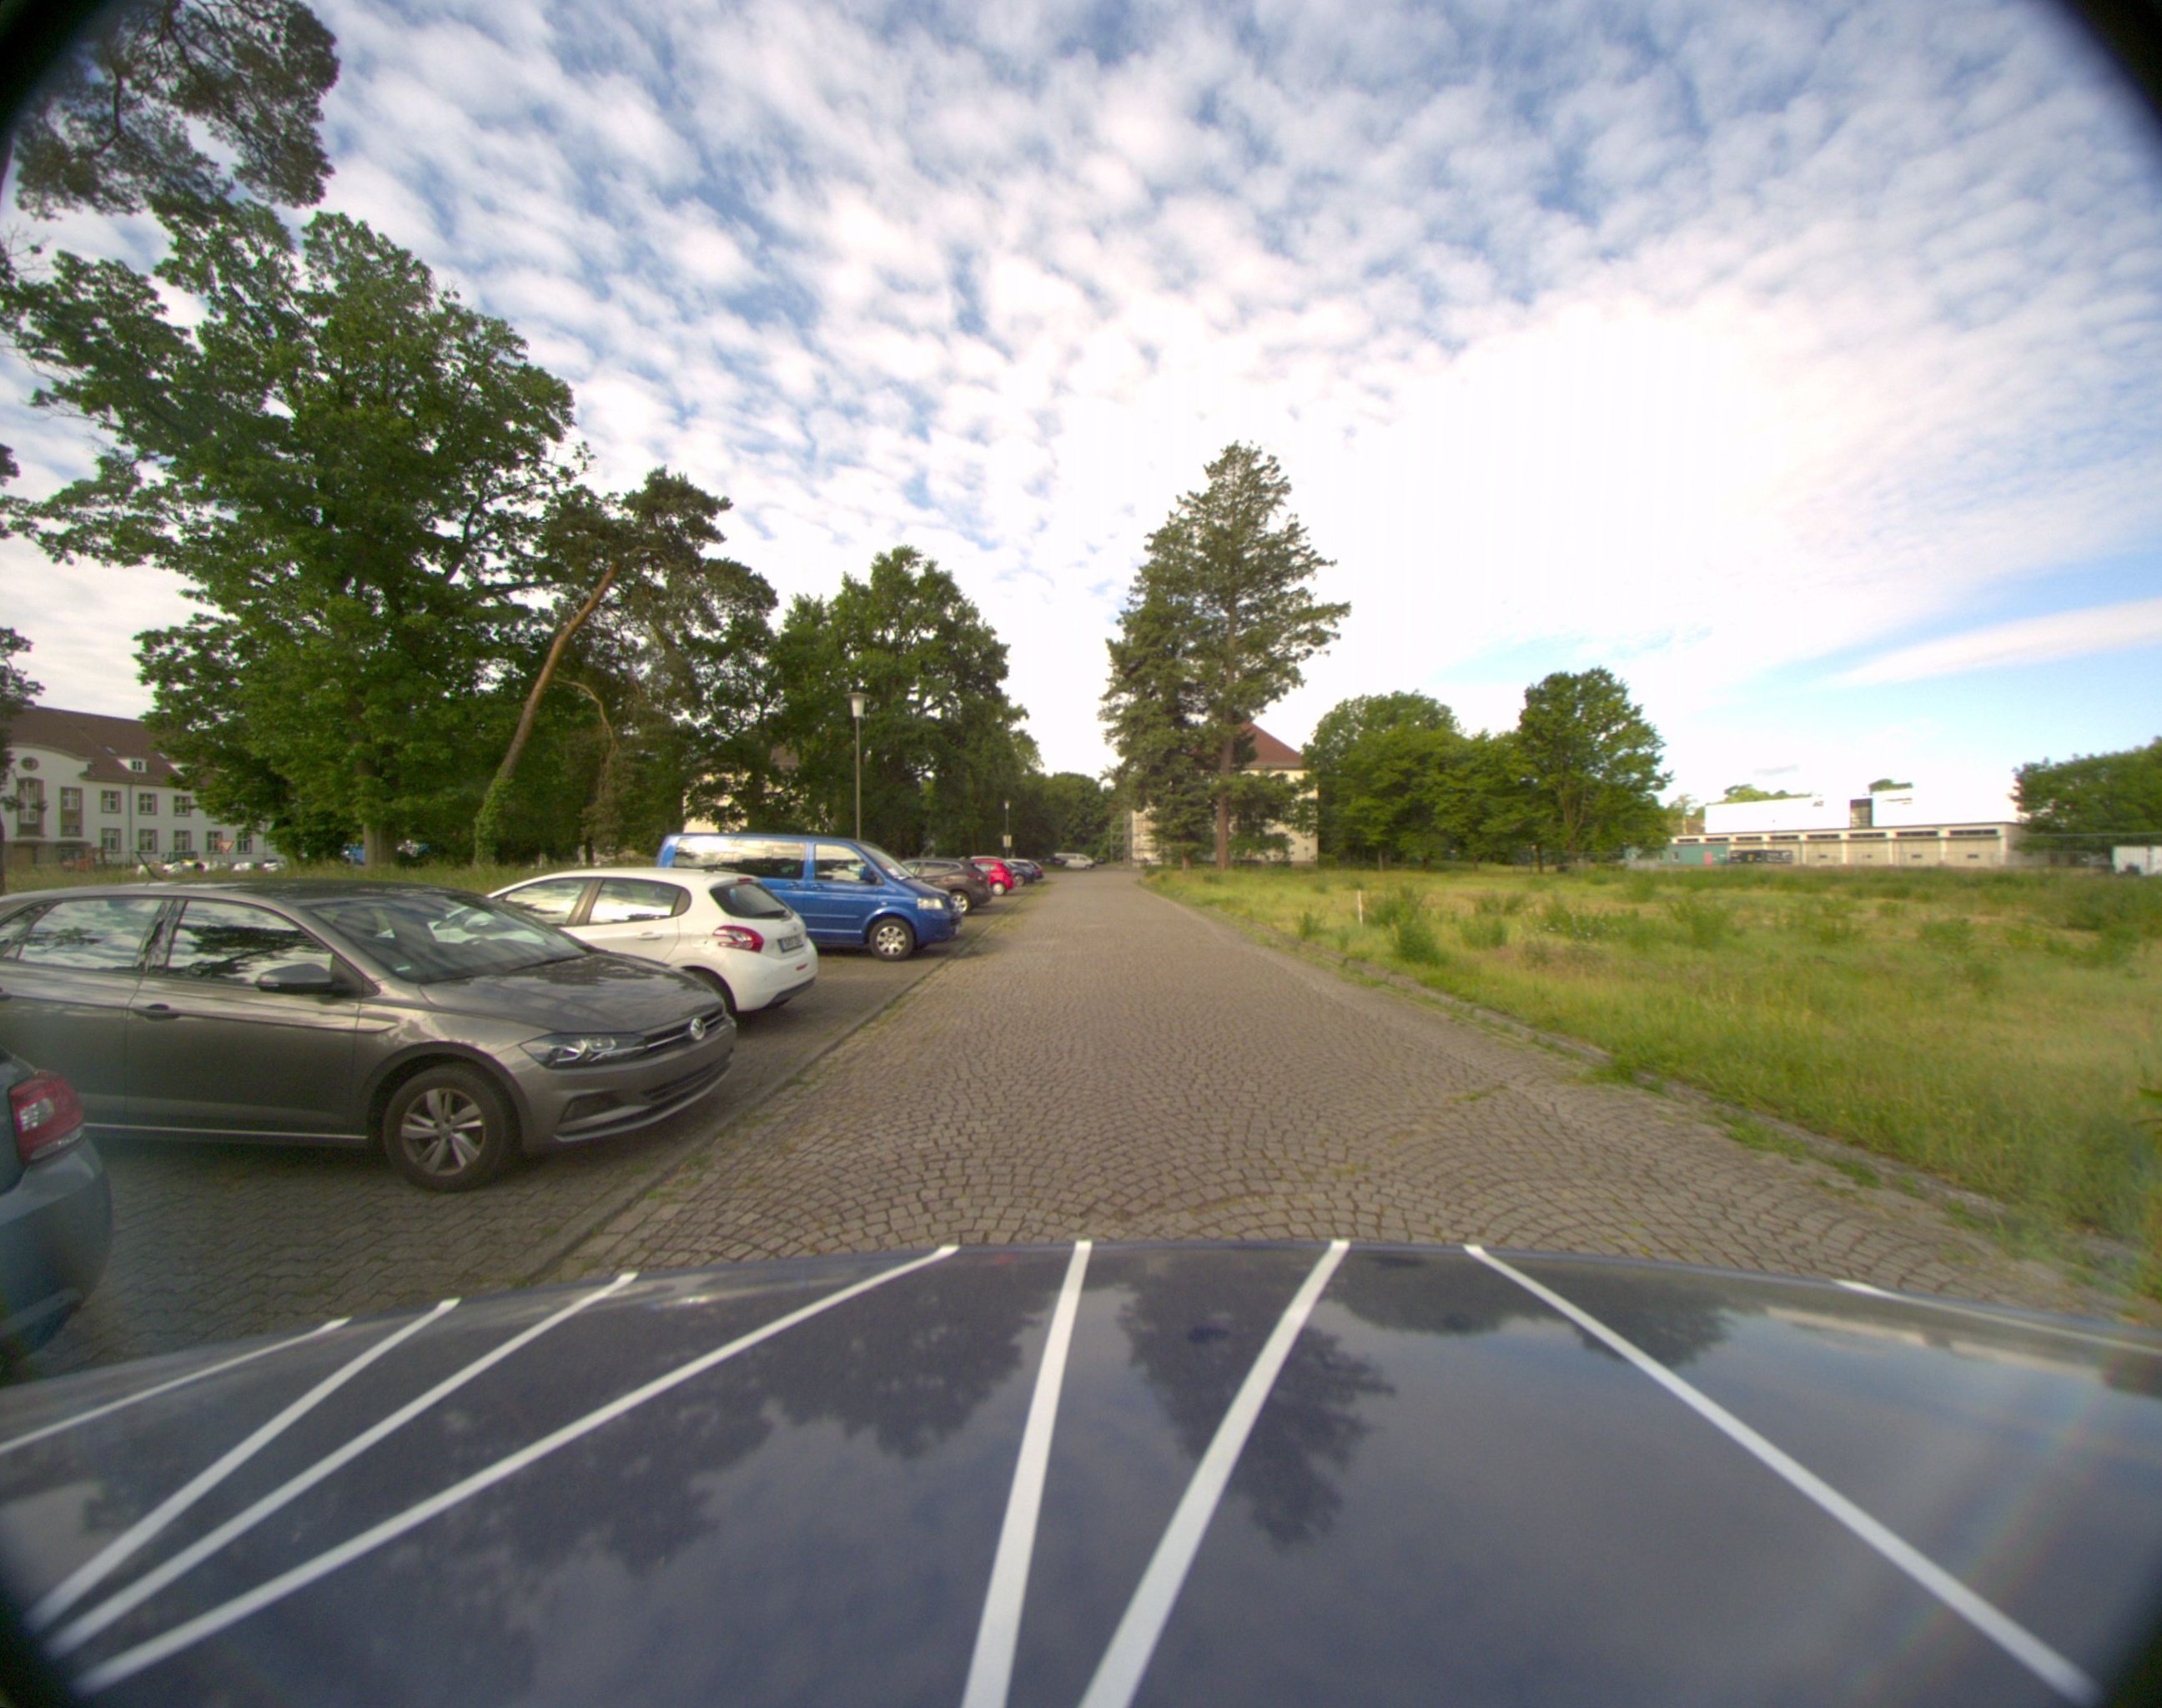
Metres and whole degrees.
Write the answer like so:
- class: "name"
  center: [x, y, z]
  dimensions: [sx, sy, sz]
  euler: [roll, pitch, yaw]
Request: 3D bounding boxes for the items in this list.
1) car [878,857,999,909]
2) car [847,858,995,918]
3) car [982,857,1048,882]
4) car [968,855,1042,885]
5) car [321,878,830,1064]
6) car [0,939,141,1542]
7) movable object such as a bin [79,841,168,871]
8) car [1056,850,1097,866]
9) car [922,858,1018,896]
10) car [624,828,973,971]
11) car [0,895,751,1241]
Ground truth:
- class: "car"
  center: [-4.462, 0.905, 24.188]
  dimensions: [3.634, 1.592, 1.580]
  euler: [0, 0, -3]
- class: "car"
  center: [-4.393, 0.917, 21.265]
  dimensions: [3.839, 1.592, 1.580]
  euler: [0, 0, -3]
- class: "car"
  center: [-4.055, 0.940, 46.823]
  dimensions: [3.836, 1.520, 1.674]
  euler: [0, 0, 5]
- class: "car"
  center: [-4.194, 0.884, 42.059]
  dimensions: [3.836, 1.609, 1.582]
  euler: [0, 0, 5]
- class: "car"
  center: [-4.517, 0.999, 7.164]
  dimensions: [3.761, 1.490, 1.581]
  euler: [0, 0, 2]
- class: "car"
  center: [-4.655, 0.995, 1.393]
  dimensions: [3.837, 1.494, 1.604]
  euler: [0, 0, 0]
- class: "movable object such as a bin"
  center: [-90.260, 0.147, 71.721]
  dimensions: [1.999, 2.752, 5.201]
  euler: [0, 0, -5]
- class: "car"
  center: [-0.534, 0.528, 95.500]
  dimensions: [5.130, 2.002, 1.804]
  euler: [0, 0, -2]
- class: "car"
  center: [-4.565, 0.943, 31.657]
  dimensions: [3.839, 1.516, 1.580]
  euler: [0, 0, -3]
- class: "car"
  center: [-4.471, 0.693, 12.619]
  dimensions: [4.954, 2.011, 2.060]
  euler: [2, 0, 1]
- class: "car"
  center: [-4.116, 1.010, 4.293]
  dimensions: [3.781, 1.457, 1.643]
  euler: [0, 0, 2]
